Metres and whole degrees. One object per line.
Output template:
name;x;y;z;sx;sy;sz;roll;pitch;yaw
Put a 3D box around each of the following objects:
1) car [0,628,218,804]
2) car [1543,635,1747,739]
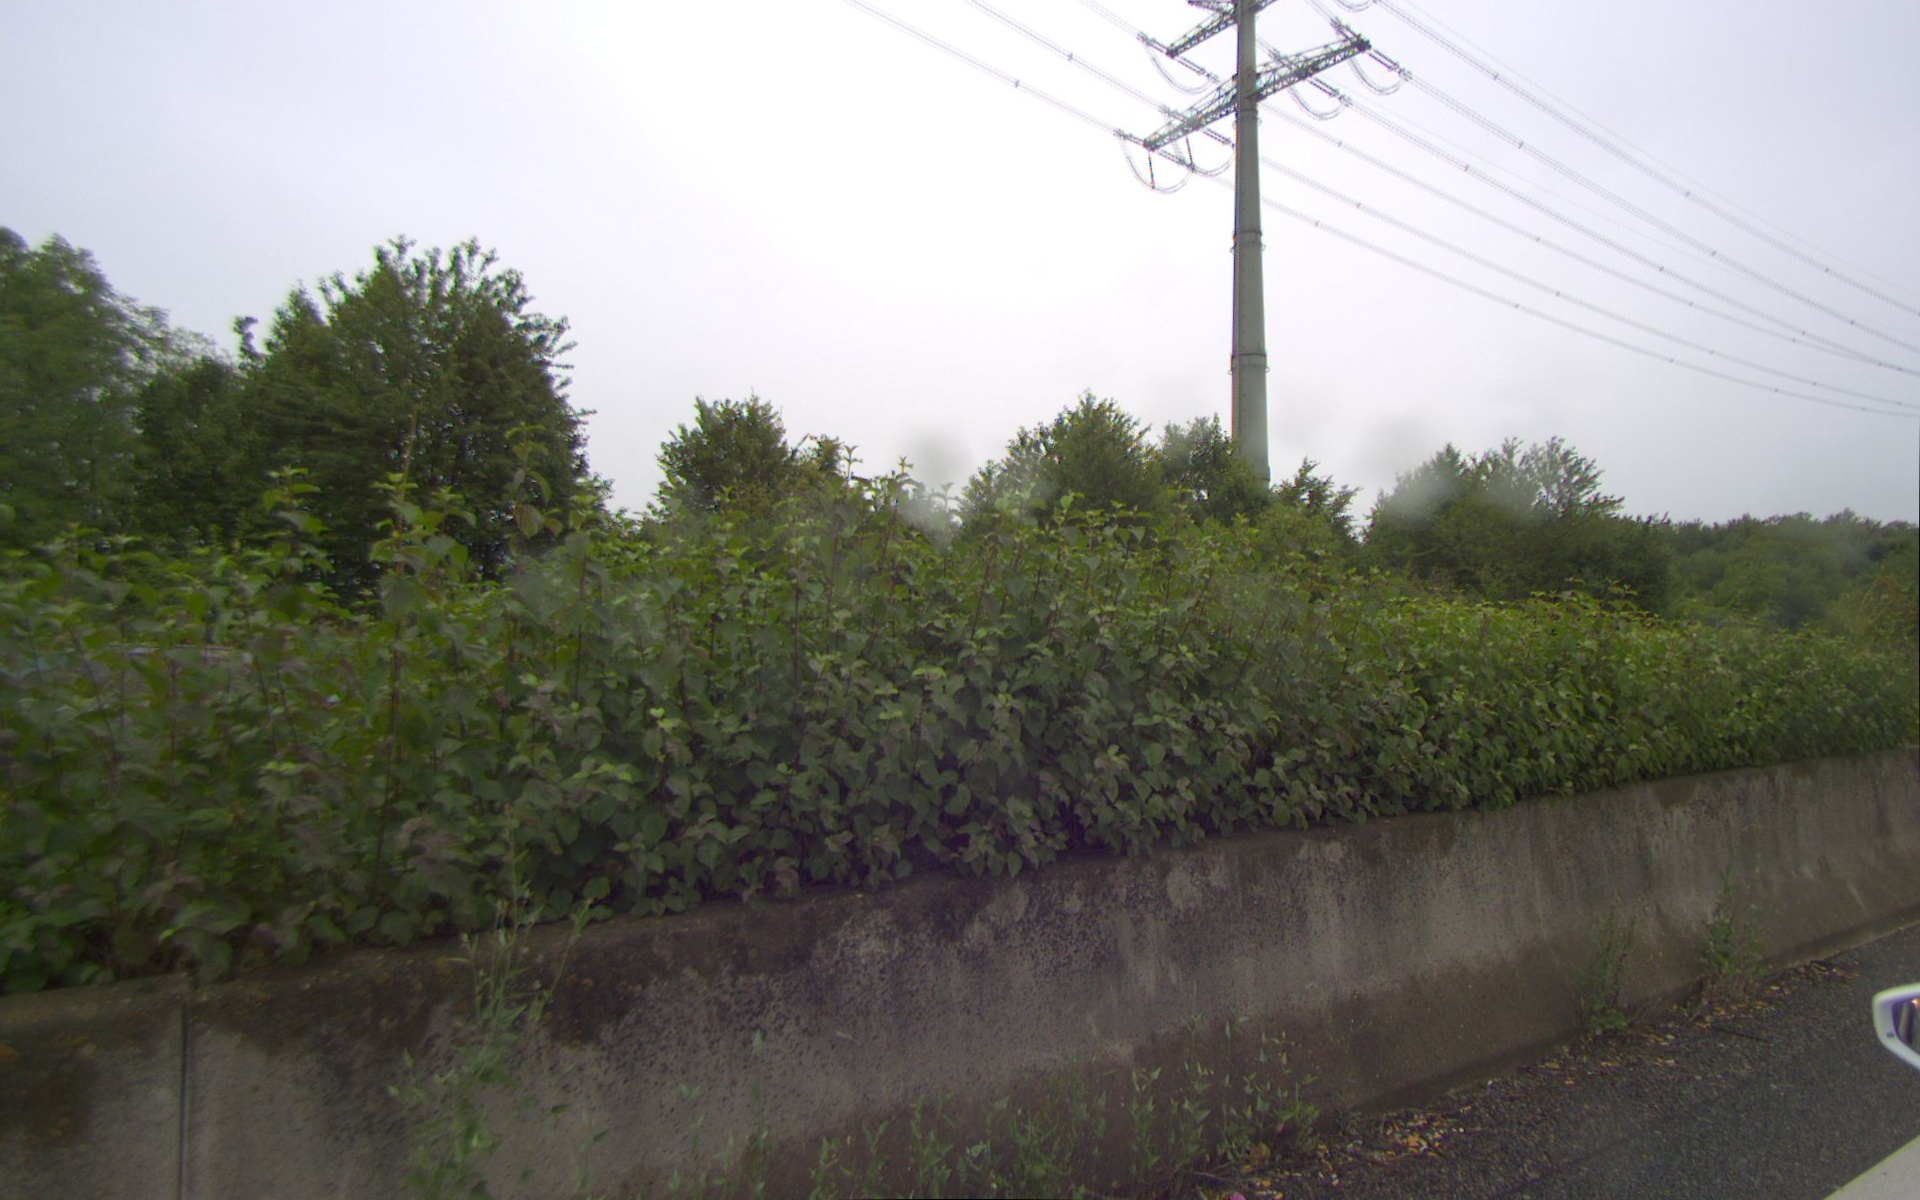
car;-8.879;0.889;7.941;4.611;1.299;1.984;1;-1;-30
car;14.158;1.704;20.748;3.953;1.956;1.984;1;-2;-30
